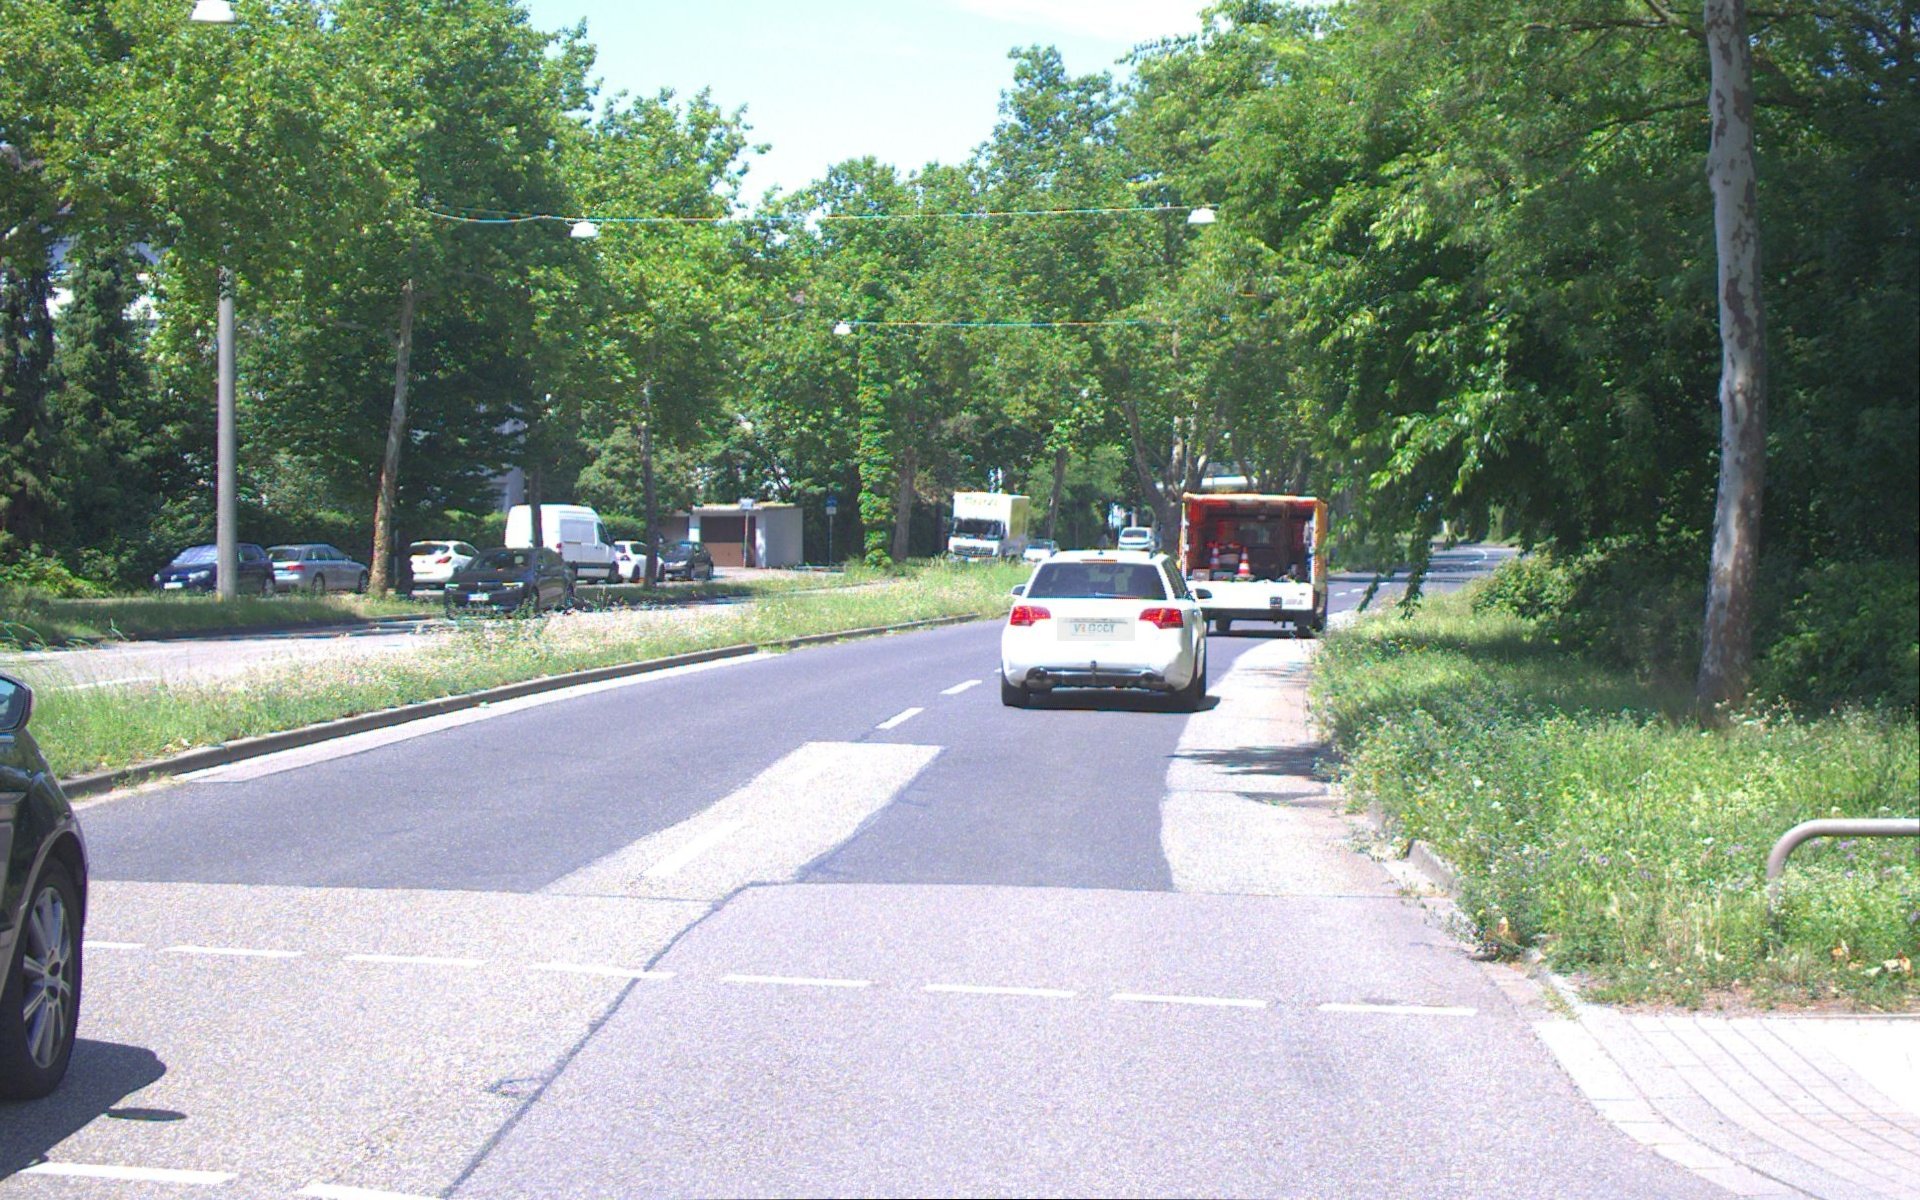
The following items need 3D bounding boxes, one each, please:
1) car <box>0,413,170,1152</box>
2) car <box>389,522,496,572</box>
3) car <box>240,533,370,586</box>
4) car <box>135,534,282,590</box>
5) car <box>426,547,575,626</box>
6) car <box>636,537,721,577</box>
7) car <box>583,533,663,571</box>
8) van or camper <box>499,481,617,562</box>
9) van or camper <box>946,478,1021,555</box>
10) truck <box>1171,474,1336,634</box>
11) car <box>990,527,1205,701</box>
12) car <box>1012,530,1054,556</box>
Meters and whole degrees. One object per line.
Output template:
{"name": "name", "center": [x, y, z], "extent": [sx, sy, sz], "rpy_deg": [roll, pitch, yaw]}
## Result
{"name": "car", "center": [-3.219, 0.437, 7.237], "extent": [1.854, 1.749, 4.649], "rpy_deg": [1, 1, 2]}
{"name": "car", "center": [-15.518, -1.606, 103.326], "extent": [1.882, 1.469, 3.998], "rpy_deg": [1, 1, 12]}
{"name": "car", "center": [-17.824, -1.116, 93.723], "extent": [1.883, 1.371, 3.997], "rpy_deg": [1, 1, 16]}
{"name": "car", "center": [-19.240, -0.986, 88.195], "extent": [1.883, 1.388, 3.996], "rpy_deg": [1, 1, 19]}
{"name": "car", "center": [-9.316, -0.302, 70.053], "extent": [1.813, 1.501, 4.592], "rpy_deg": [0, 1, 9]}
{"name": "car", "center": [-10.199, -1.575, 124.789], "extent": [1.830, 1.386, 3.944], "rpy_deg": [1, 1, 16]}
{"name": "car", "center": [-11.656, -1.672, 119.008], "extent": [1.694, 1.279, 3.801], "rpy_deg": [1, 1, 11]}
{"name": "van or camper", "center": [-13.140, -2.568, 112.646], "extent": [2.184, 2.578, 5.306], "rpy_deg": [0, 1, 13]}
{"name": "van or camper", "center": [1.061, -3.670, 151.927], "extent": [2.661, 3.320, 5.499], "rpy_deg": [1, 1, 7]}
{"name": "truck", "center": [5.246, -0.892, 60.443], "extent": [2.512, 2.550, 7.602], "rpy_deg": [2, 2, 7]}
{"name": "car", "center": [1.324, 0.090, 31.733], "extent": [1.763, 1.440, 3.615], "rpy_deg": [2, 1, 5]}
{"name": "car", "center": [3.561, -2.785, 166.457], "extent": [1.914, 1.206, 4.335], "rpy_deg": [0, 2, 3]}
